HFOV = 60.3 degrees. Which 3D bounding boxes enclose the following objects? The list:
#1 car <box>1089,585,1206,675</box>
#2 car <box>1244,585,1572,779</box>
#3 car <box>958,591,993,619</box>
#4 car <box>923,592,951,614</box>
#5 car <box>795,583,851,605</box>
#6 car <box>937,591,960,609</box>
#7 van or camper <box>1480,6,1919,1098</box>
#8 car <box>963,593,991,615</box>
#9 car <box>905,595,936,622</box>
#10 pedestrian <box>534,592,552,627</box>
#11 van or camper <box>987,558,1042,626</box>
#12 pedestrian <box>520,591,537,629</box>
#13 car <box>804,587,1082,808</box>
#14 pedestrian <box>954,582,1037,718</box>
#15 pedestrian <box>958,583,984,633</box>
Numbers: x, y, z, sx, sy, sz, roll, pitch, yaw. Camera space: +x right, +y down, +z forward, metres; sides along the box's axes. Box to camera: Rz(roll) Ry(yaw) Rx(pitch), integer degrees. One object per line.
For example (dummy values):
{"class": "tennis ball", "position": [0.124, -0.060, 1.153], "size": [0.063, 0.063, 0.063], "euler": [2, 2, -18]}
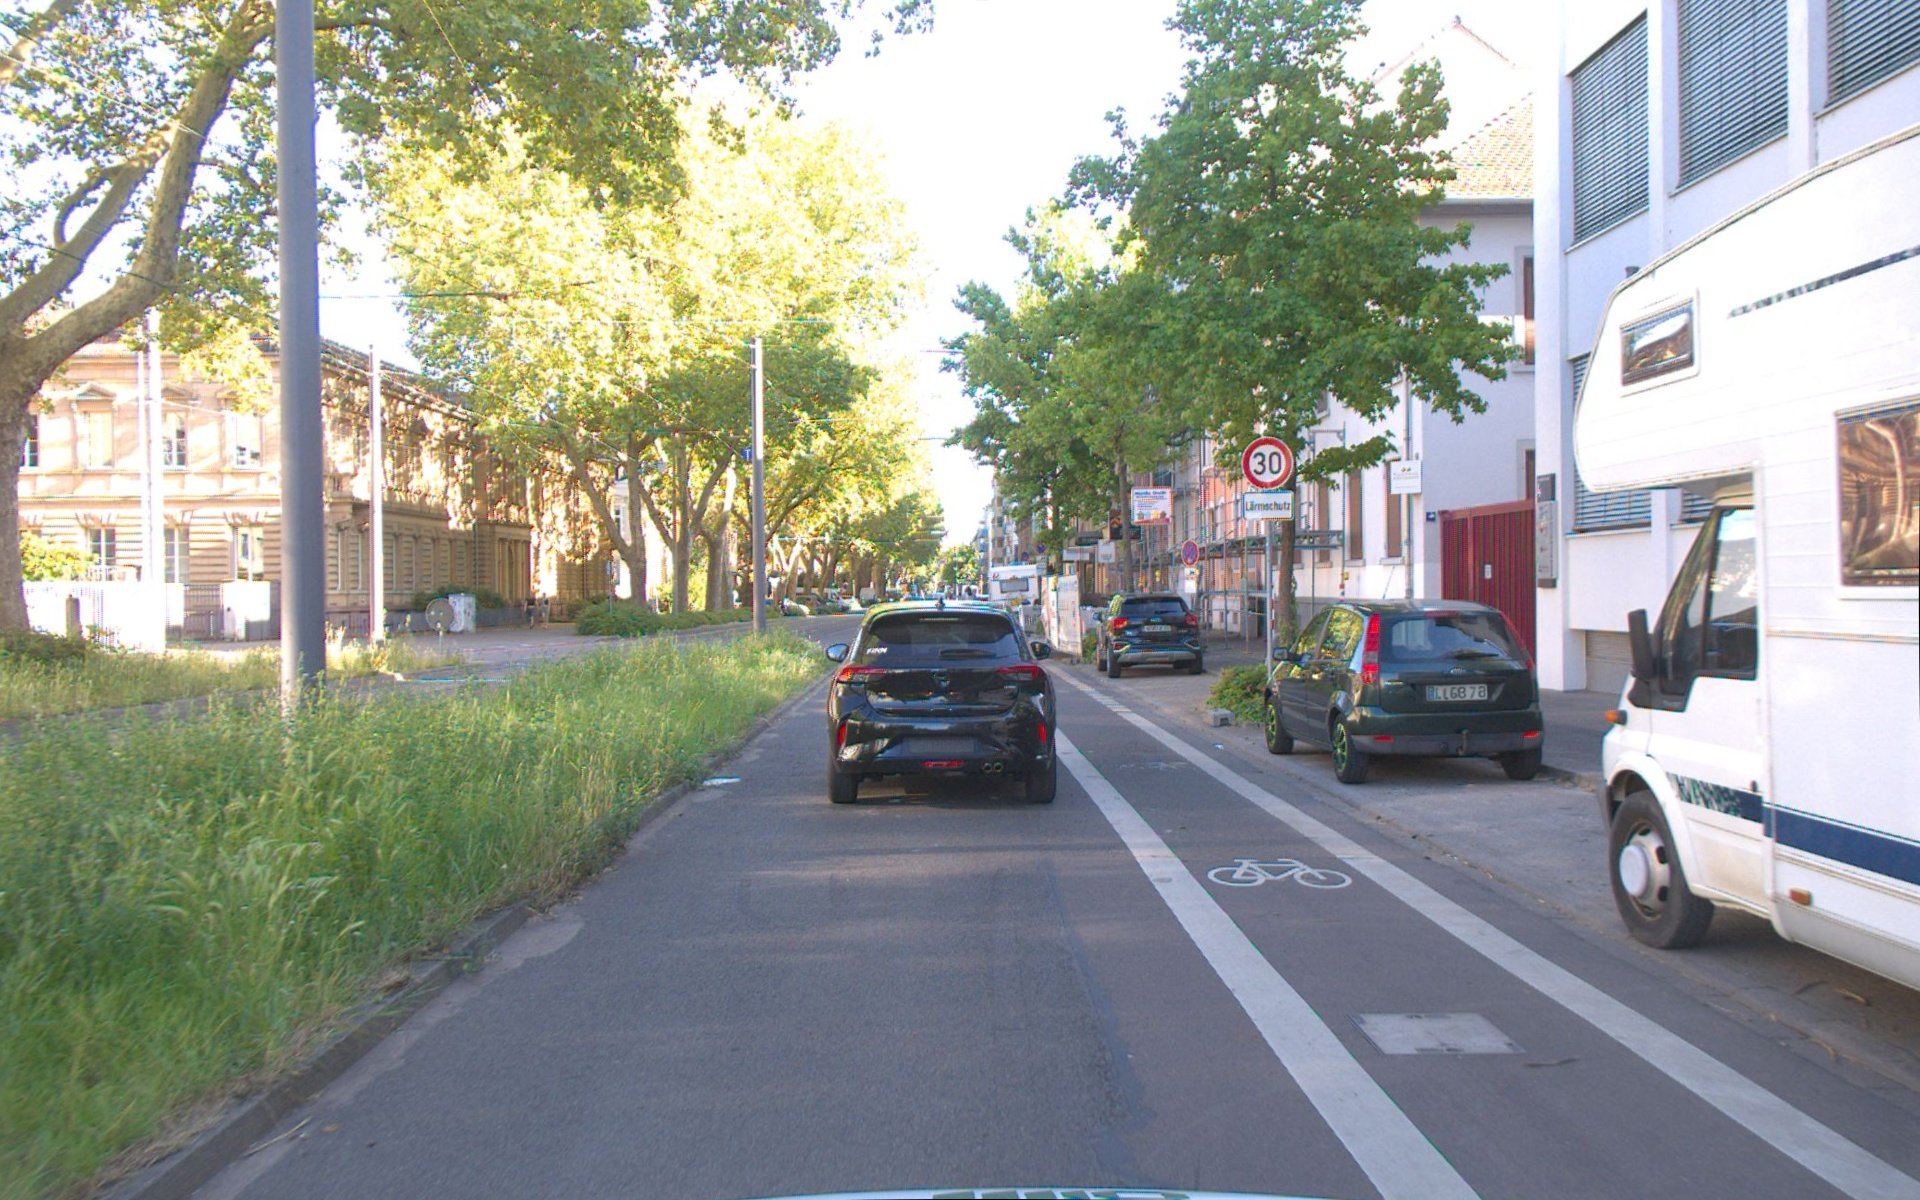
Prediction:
{"class": "car", "position": [3.530, 0.523, 31.725], "size": [1.753, 1.536, 3.874], "euler": [-2, 0, 0]}
{"class": "car", "position": [3.787, 0.611, 14.709], "size": [1.652, 1.445, 4.047], "euler": [-2, 0, -2]}
{"class": "car", "position": [0.884, 0.253, 92.484], "size": [1.865, 1.450, 4.216], "euler": [-1, 1, 1]}
{"class": "car", "position": [-1.590, 0.184, 116.175], "size": [1.865, 1.450, 4.216], "euler": [-1, 1, 1]}
{"class": "car", "position": [-14.385, -0.649, 173.855], "size": [5.571, 2.236, 2.289], "euler": [-1, 0, 0]}
{"class": "car", "position": [-0.987, -0.029, 140.573], "size": [1.865, 1.450, 4.216], "euler": [-1, 1, 1]}
{"class": "van or camper", "position": [3.960, -0.164, 4.651], "size": [2.328, 3.179, 7.549], "euler": [-4, 0, -1]}
{"class": "car", "position": [1.155, 0.256, 111.872], "size": [1.865, 1.450, 4.216], "euler": [-1, 1, 1]}
{"class": "car", "position": [-2.395, 0.491, 101.780], "size": [1.753, 1.536, 3.874], "euler": [-2, 0, 0]}
{"class": "pedestrian", "position": [-19.723, 0.434, 78.194], "size": [0.645, 1.650, 0.615], "euler": [1, 0, -1]}
{"class": "van or camper", "position": [2.511, -0.382, 78.009], "size": [2.435, 3.046, 5.435], "euler": [1, 0, 1]}
{"class": "pedestrian", "position": [-20.369, 0.451, 78.131], "size": [0.605, 1.764, 0.596], "euler": [1, 0, -1]}
{"class": "car", "position": [-0.083, 0.649, 13.330], "size": [1.865, 1.450, 4.216], "euler": [-1, 1, 1]}
{"class": "pedestrian", "position": [0.417, 0.582, 19.884], "size": [0.950, 1.590, 0.971], "euler": [-1, 0, -1]}
{"class": "pedestrian", "position": [0.448, 0.329, 69.011], "size": [1.015, 2.059, 1.212], "euler": [0, 0, -1]}
